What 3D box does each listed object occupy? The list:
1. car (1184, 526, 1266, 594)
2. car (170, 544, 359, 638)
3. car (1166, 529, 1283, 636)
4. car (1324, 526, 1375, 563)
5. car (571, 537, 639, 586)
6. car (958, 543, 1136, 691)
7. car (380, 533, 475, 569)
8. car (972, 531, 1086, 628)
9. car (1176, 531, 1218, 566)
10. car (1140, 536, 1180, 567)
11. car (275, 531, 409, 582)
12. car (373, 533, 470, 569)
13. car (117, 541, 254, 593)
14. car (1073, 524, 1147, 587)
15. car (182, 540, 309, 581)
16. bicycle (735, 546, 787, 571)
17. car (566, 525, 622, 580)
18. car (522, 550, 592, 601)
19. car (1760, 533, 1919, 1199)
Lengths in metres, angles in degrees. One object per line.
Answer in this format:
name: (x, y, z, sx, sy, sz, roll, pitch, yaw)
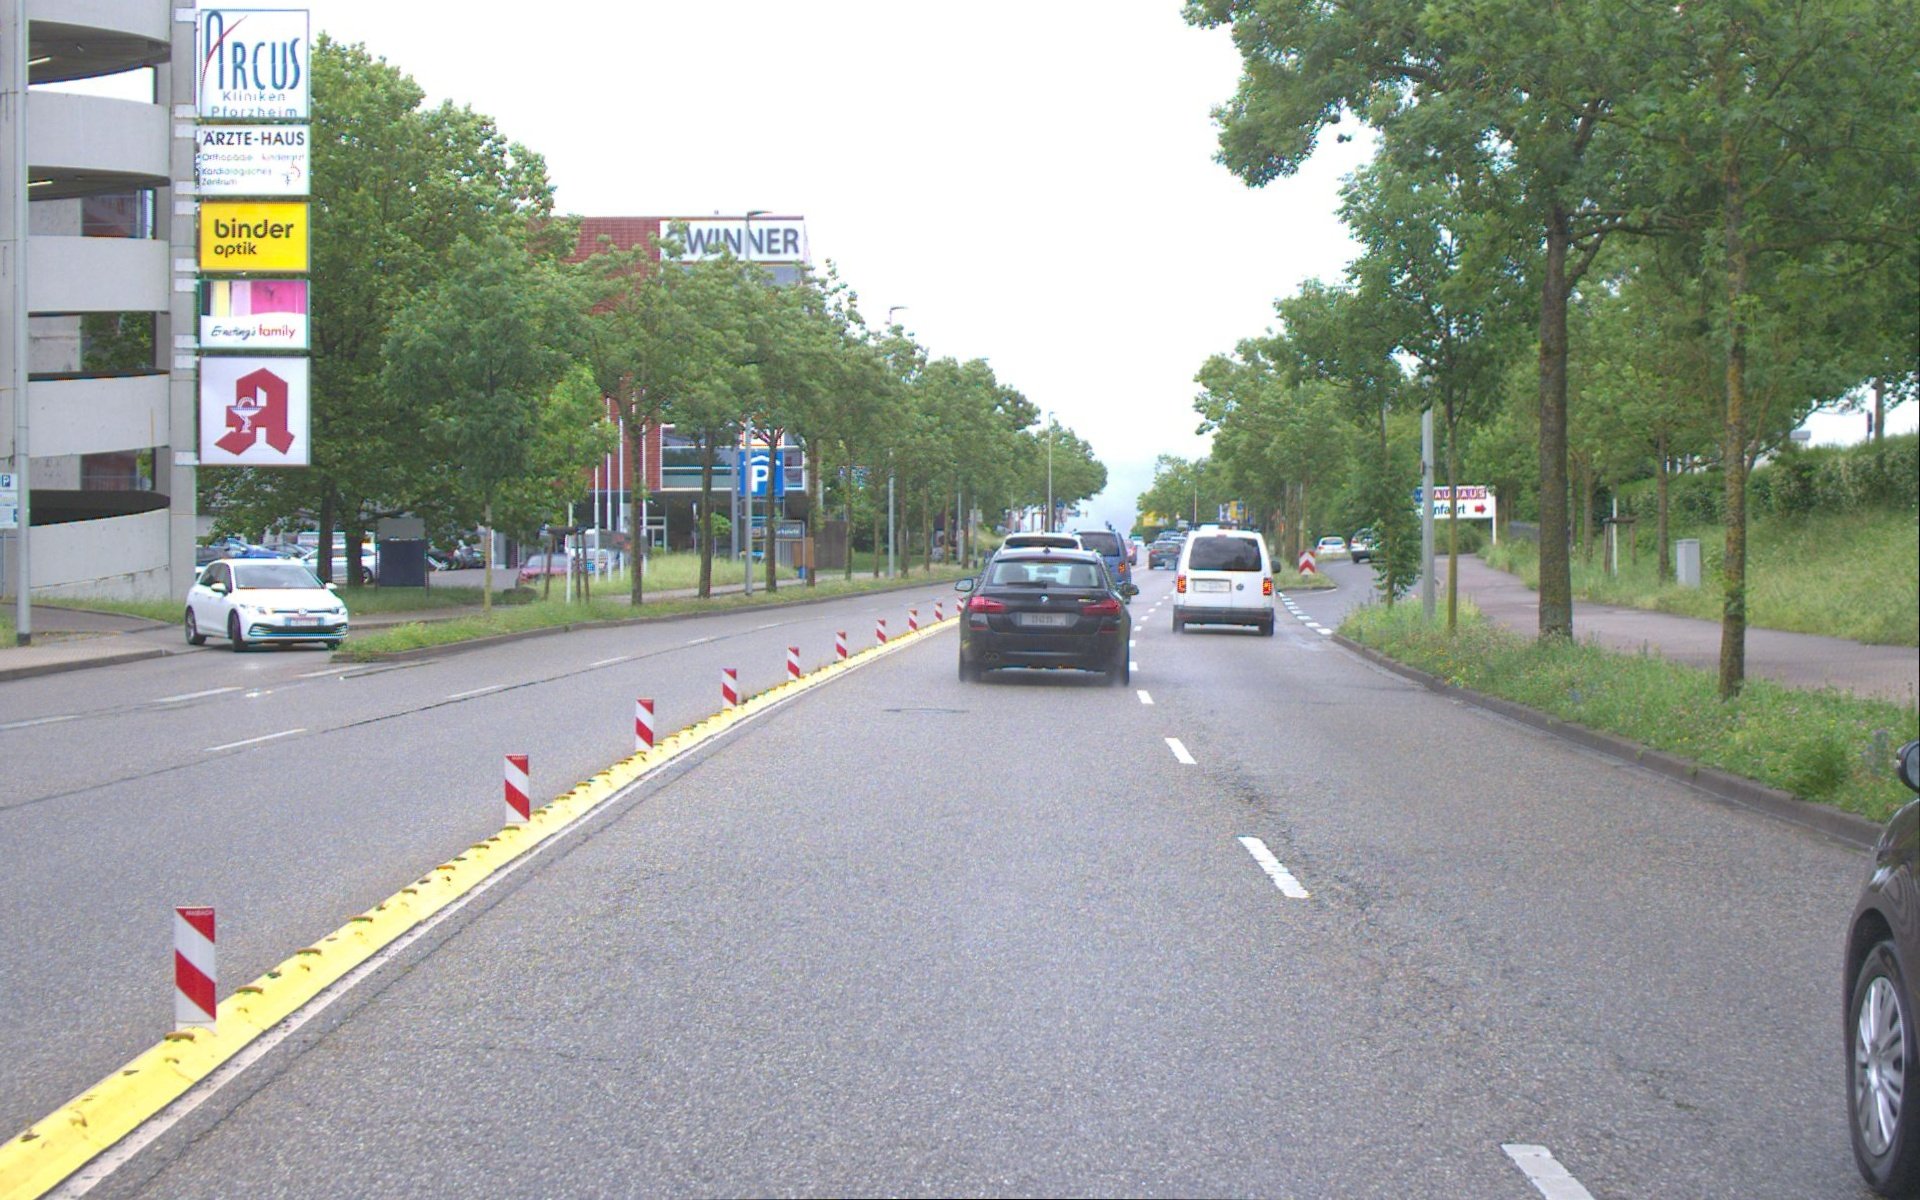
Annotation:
car: (6.204, -0.927, 80.730, 1.794, 1.505, 4.000, 2, 0, 3)
car: (-11.308, -0.174, 55.693, 1.899, 1.403, 4.425, -2, 2, -26)
car: (4.603, -0.342, 60.228, 1.827, 1.753, 4.000, 2, 1, 2)
car: (16.902, -2.394, 149.376, 1.794, 1.505, 4.000, 2, 0, 1)
car: (-13.955, -1.540, 135.400, 2.039, 1.756, 4.946, 1, 2, 1)
car: (0.958, 0.142, 38.079, 1.827, 1.463, 4.000, 2, 2, 1)
car: (-24.137, -2.242, 156.005, 4.108, 1.505, 1.819, 1, 2, -3)
car: (1.169, -0.341, 57.485, 1.794, 1.505, 4.000, 2, 0, 1)
car: (10.862, -2.373, 157.849, 1.794, 1.505, 4.000, 2, 0, 3)
car: (10.070, -2.429, 173.069, 1.794, 1.505, 4.000, 2, 0, 1)
car: (-22.668, -1.601, 126.216, 4.598, 1.740, 1.967, 1, 2, -3)
car: (-24.058, -2.196, 153.766, 4.108, 1.505, 1.819, 1, 2, -3)
car: (-27.908, -1.197, 123.934, 4.598, 1.740, 2.134, 1, 2, -7)
car: (3.836, -1.124, 88.000, 1.794, 1.505, 4.000, 2, 0, 2)
car: (-28.065, -1.559, 135.132, 4.609, 1.505, 2.025, 1, 2, -3)
bicycle: (-8.898, -1.862, 153.814, 2.077, 0.932, 1.093, 5, 1, 9)
car: (-15.010, -1.983, 141.165, 2.113, 2.088, 5.123, 1, 2, -4)
car: (-14.154, -0.881, 120.874, 1.933, 1.603, 4.712, 1, 2, -1)
car: (2.909, 0.678, 6.574, 1.685, 1.576, 4.219, 2, 1, -1)
